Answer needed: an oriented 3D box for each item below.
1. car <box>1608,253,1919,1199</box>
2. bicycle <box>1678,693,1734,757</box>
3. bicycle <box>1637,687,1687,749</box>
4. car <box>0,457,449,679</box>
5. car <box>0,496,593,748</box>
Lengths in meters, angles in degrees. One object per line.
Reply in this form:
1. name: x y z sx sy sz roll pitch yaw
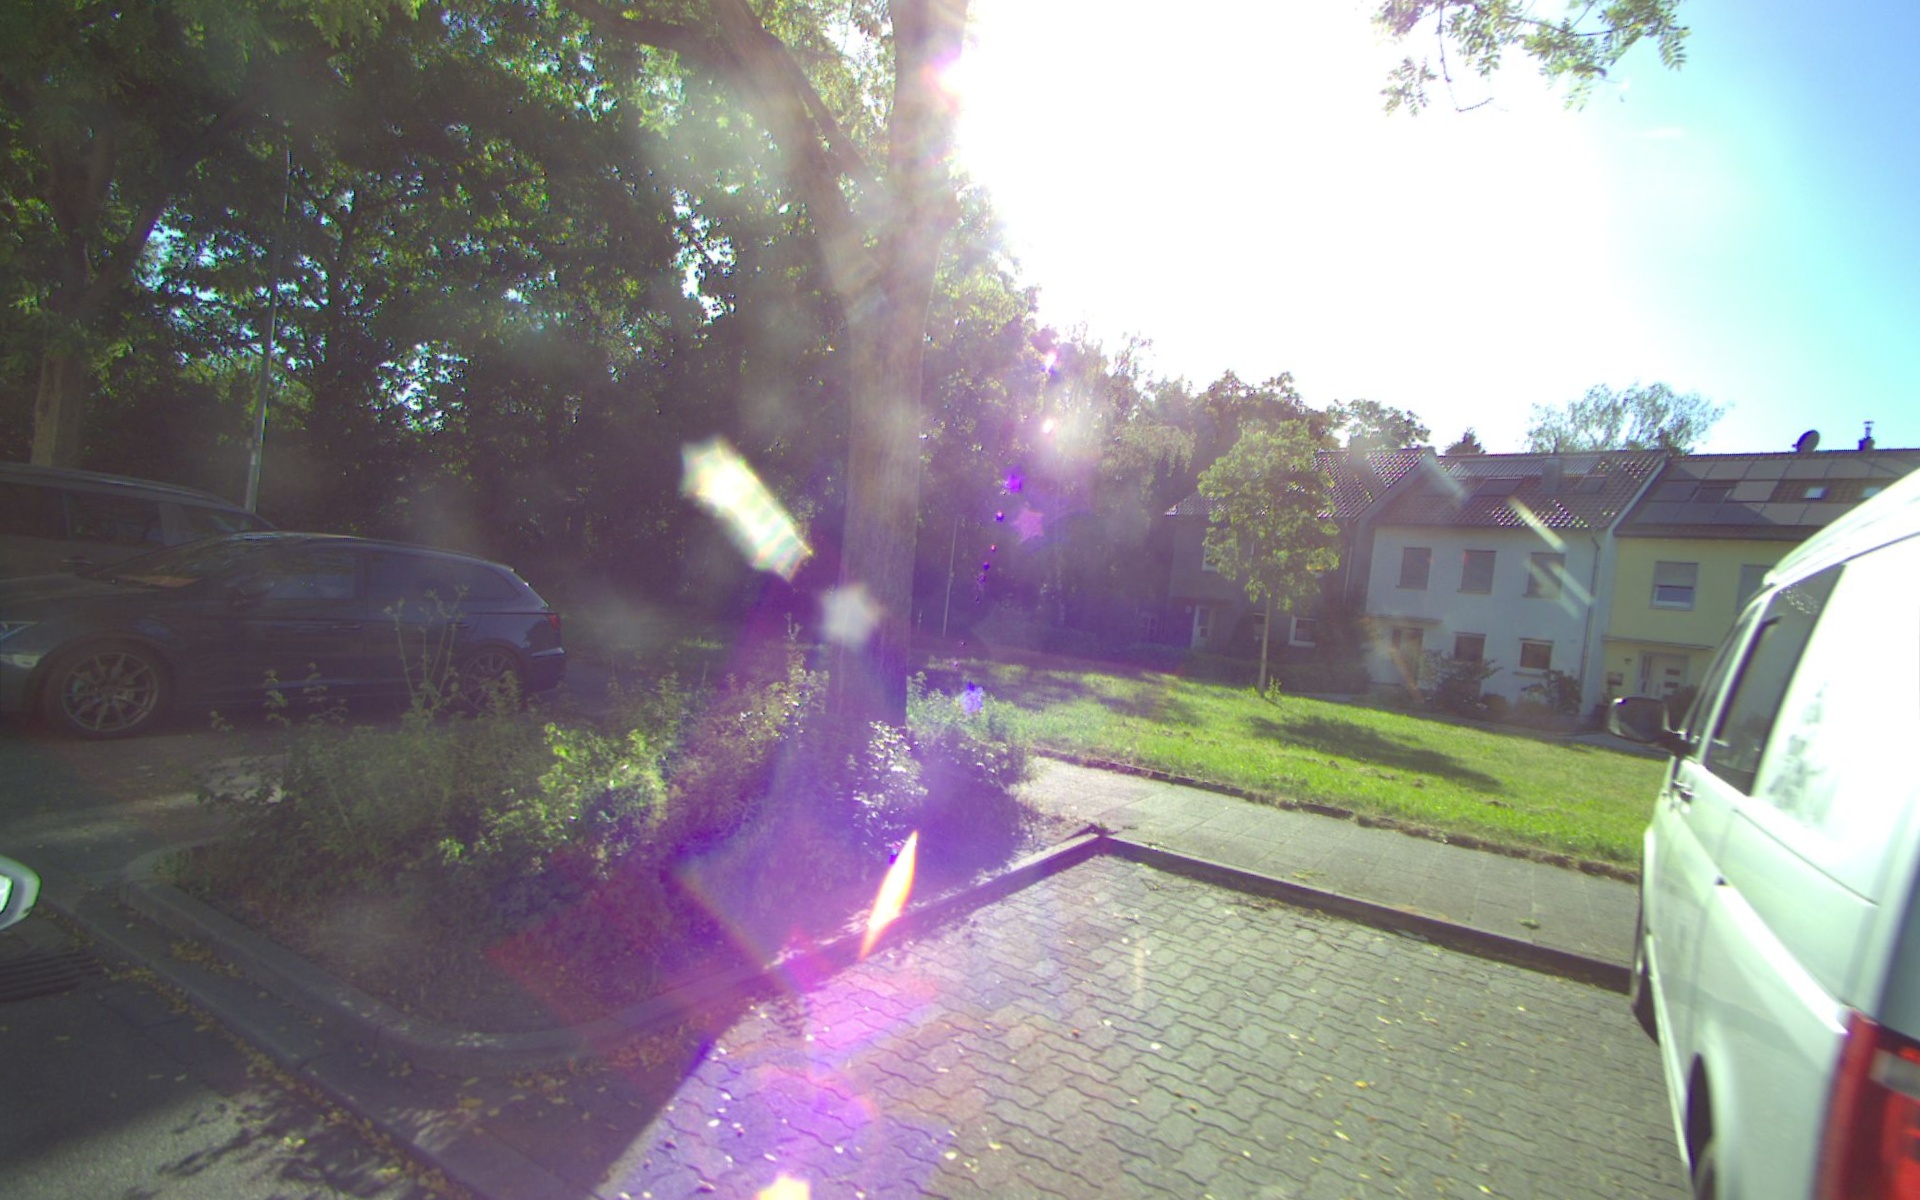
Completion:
1. car: 2.980 0.837 2.537 1.988 2.042 4.453 7 1 32
2. bicycle: 19.563 3.260 26.436 0.811 1.460 2.914 7 -1 32
3. bicycle: 19.069 3.201 27.383 0.811 1.491 2.914 7 -1 32
4. car: -7.355 -0.247 9.431 1.746 1.717 4.150 7 1 33
5. car: -5.341 0.156 7.868 1.745 1.432 4.455 7 1 31
